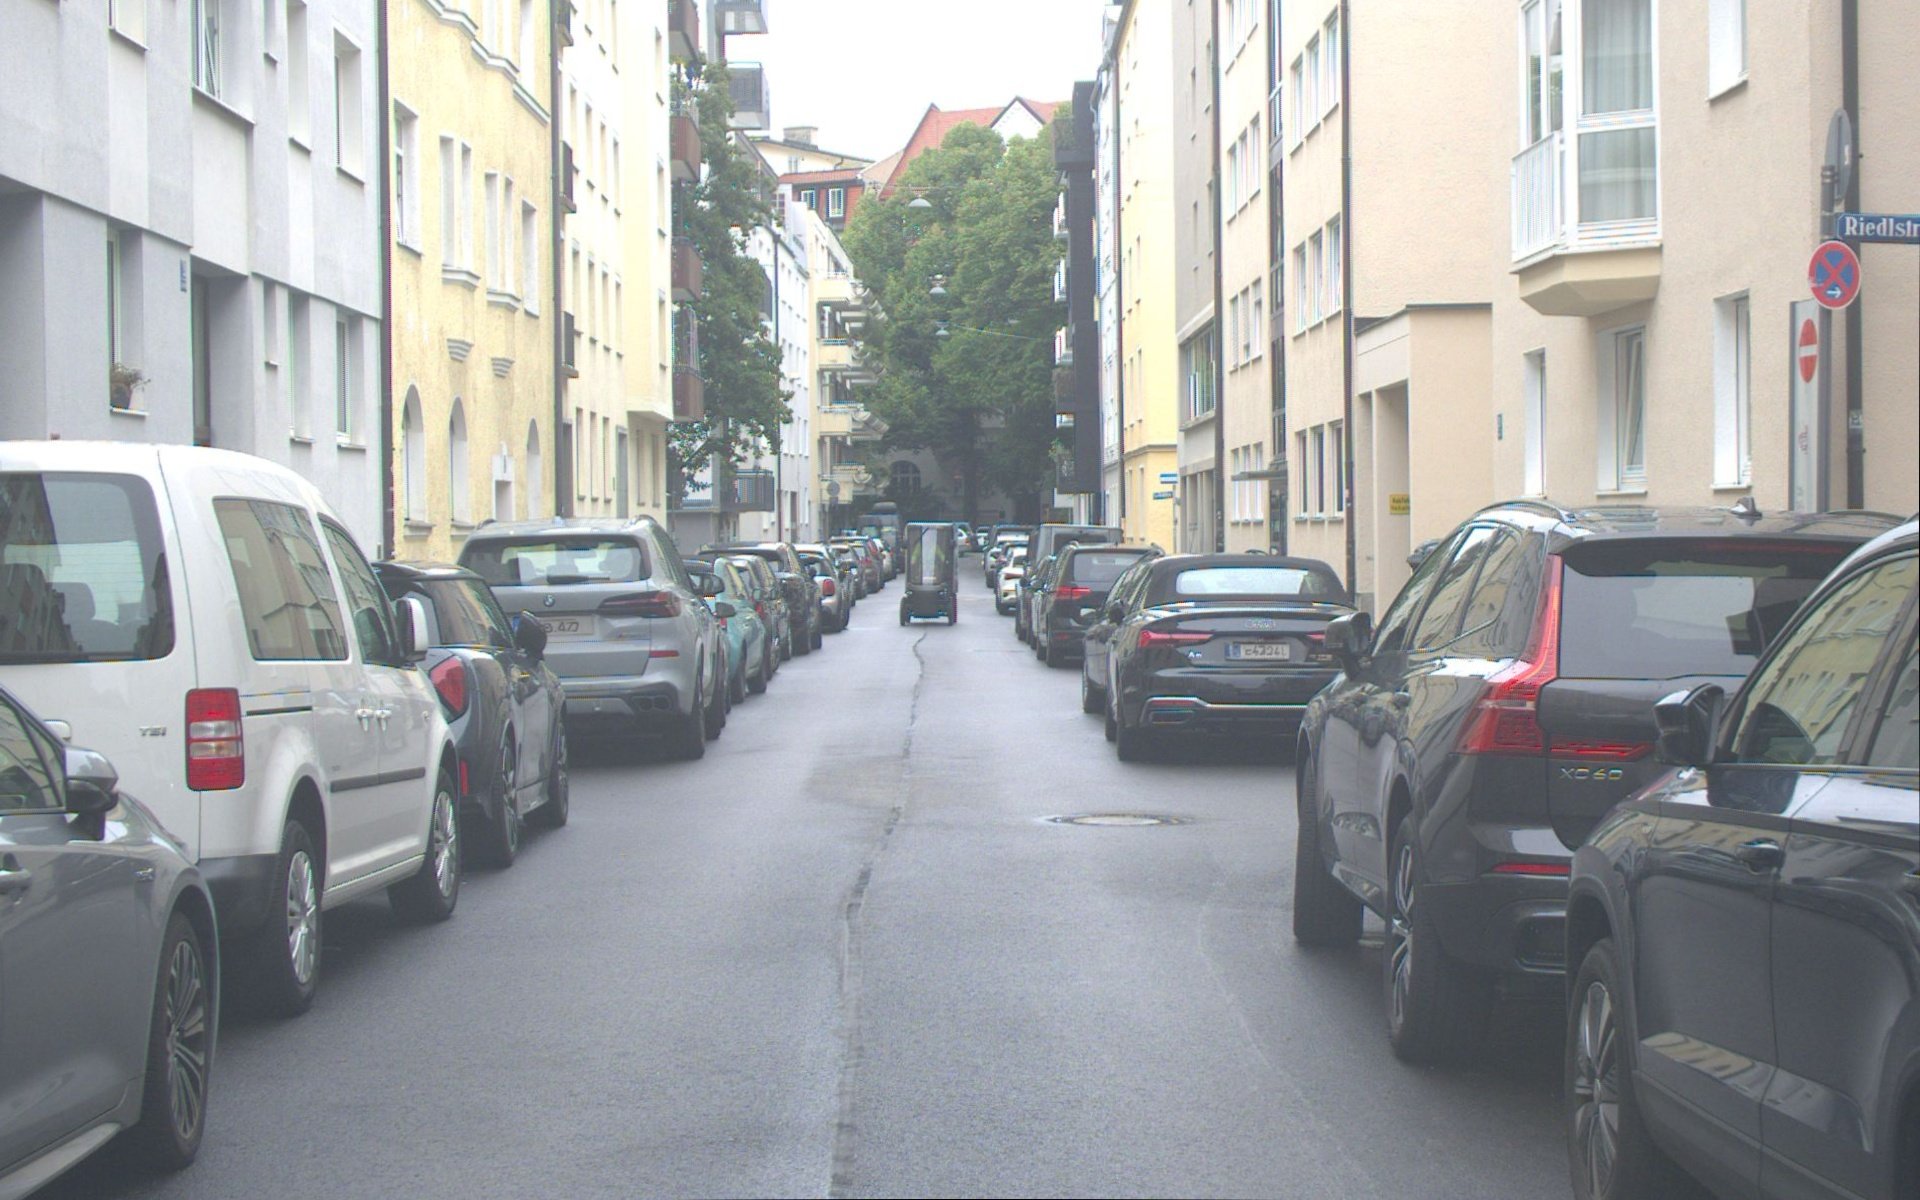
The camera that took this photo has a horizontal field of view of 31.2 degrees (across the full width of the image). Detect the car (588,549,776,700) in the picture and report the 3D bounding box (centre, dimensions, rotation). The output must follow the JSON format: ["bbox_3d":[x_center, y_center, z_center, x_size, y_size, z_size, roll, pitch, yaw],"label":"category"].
[{"bbox_3d":[-2.842,0.219,35.725,1.563,1.455,3.404,-1,1,2],"label":"car"}]

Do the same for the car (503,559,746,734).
[{"bbox_3d":[-2.940,0.365,30.934,1.811,1.381,4.251,-3,1,-1],"label":"car"}]

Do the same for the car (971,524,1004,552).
[{"bbox_3d":[1.451,-3.321,183.595,1.642,1.379,3.746,2,1,0],"label":"car"}]

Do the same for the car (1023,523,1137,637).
[{"bbox_3d":[2.120,-0.379,61.733,1.750,1.968,4.343,0,1,-2],"label":"car"}]

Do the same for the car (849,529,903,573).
[{"bbox_3d":[-3.012,-1.779,123.399,1.777,1.448,4.046,-3,1,0],"label":"car"}]

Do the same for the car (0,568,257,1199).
[{"bbox_3d":[-2.675,0.709,6.757,1.672,1.470,4.112,-3,0,0],"label":"car"}]

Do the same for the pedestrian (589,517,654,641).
[{"bbox_3d":[-4.880,-0.306,49.576,0.839,1.758,1.068,0,1,0],"label":"pedestrian"}]

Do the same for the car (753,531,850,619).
[{"bbox_3d":[-3.160,-0.525,69.048,1.766,1.669,4.368,-1,1,-1],"label":"car"}]

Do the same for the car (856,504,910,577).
[{"bbox_3d":[-3.067,-2.399,138.040,1.936,2.792,4.533,-3,1,0],"label":"car"}]

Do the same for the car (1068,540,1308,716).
[{"bbox_3d":[1.998,0.205,31.258,1.716,1.466,4.532,1,1,-2],"label":"car"}]

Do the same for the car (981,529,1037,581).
[{"bbox_3d":[1.518,-1.415,106.938,1.682,1.562,4.415,0,1,1],"label":"car"}]

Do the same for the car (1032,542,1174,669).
[{"bbox_3d":[1.869,0.045,46.092,1.711,1.602,4.244,1,1,0],"label":"car"}]

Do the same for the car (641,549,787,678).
[{"bbox_3d":[-2.944,0.133,41.730,1.563,1.455,3.764,-1,1,-1],"label":"car"}]

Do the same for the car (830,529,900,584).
[{"bbox_3d":[-2.503,-1.165,91.343,1.693,1.437,3.942,0,1,1],"label":"car"}]

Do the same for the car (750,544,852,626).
[{"bbox_3d":[-2.909,-0.301,63.555,1.652,1.431,3.803,-1,1,0],"label":"car"}]

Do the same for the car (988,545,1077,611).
[{"bbox_3d":[1.586,-0.509,76.265,1.819,1.403,3.952,0,1,-1],"label":"car"}]

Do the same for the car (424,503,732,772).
[{"bbox_3d":[-2.773,0.225,25.936,1.862,1.764,4.736,-3,1,-2],"label":"car"}]

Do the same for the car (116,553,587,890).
[{"bbox_3d":[-2.874,0.531,16.963,1.652,1.406,3.735,-3,0,-1],"label":"car"}]

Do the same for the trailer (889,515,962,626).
[{"bbox_3d":[-0.658,-0.582,67.798,1.355,2.108,3.318,-1,0,0],"label":"trailer"}]

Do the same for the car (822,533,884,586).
[{"bbox_3d":[-3.076,-1.194,99.393,1.693,1.437,3.978,-2,1,-1],"label":"car"}]

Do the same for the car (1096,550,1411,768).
[{"bbox_3d":[1.999,0.352,24.594,1.832,1.401,4.411,0,1,0],"label":"car"}]

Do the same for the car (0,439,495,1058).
[{"bbox_3d":[-2.883,0.427,12.217,1.724,1.783,4.249,-2,1,1],"label":"car"}]

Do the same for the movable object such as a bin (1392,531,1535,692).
[{"bbox_3d":[4.670,0.097,31.989,1.032,1.418,1.587,-2,1,0],"label":"movable object such as a bin"}]

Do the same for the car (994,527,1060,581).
[{"bbox_3d":[1.857,-1.294,96.408,1.751,1.464,4.343,0,1,0],"label":"car"}]

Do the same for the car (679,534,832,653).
[{"bbox_3d":[-3.006,-0.126,51.331,1.879,1.654,4.415,-1,1,1],"label":"car"}]

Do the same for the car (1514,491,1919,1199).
[{"bbox_3d":[2.262,0.648,5.873,1.832,1.616,4.324,1,1,-1],"label":"car"}]

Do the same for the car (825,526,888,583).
[{"bbox_3d":[-3.141,-1.407,105.157,1.777,1.623,4.415,-2,1,0],"label":"car"}]

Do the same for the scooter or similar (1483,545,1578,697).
[{"bbox_3d":[4.912,0.168,29.640,0.576,1.262,1.136,-2,1,0],"label":"scooter or similar"}]

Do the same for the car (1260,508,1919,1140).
[{"bbox_3d":[2.125,0.555,11.067,1.832,1.616,4.411,1,1,-1],"label":"car"}]
